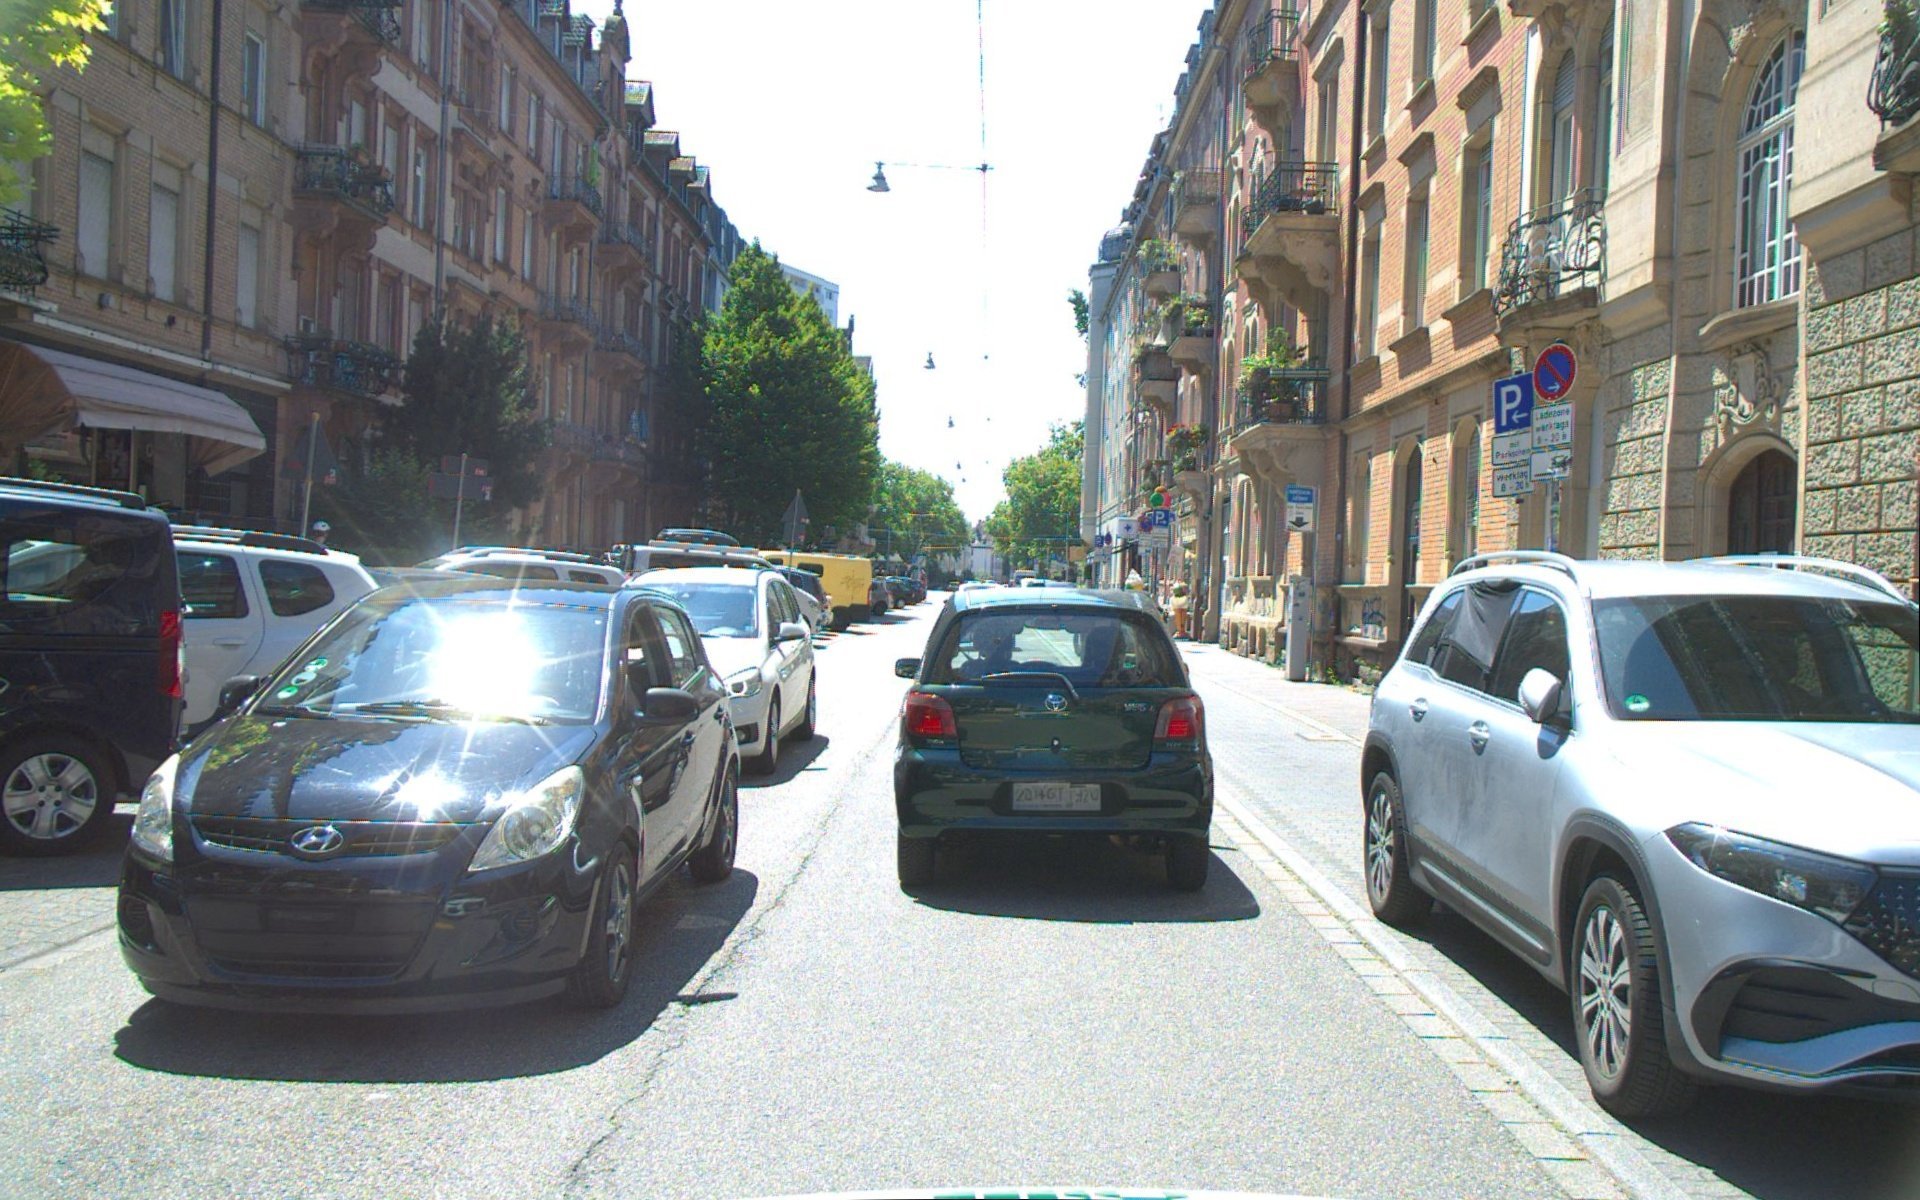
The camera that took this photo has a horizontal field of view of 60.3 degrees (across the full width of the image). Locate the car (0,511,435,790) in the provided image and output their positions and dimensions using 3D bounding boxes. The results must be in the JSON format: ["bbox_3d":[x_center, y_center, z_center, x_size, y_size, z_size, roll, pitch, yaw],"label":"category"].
[{"bbox_3d":[-5.767,0.297,11.344,3.932,1.686,1.748,4,0,-23],"label":"car"}]

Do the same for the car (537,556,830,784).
[{"bbox_3d":[-2.228,0.503,14.472,1.718,1.674,4.378,-1,0,1],"label":"car"}]

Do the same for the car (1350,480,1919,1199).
[{"bbox_3d":[2.856,0.579,6.210,1.832,1.743,4.505,1,0,2],"label":"car"}]

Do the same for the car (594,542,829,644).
[{"bbox_3d":[-5.516,-0.156,36.789,4.718,2.029,2.035,2,0,-28],"label":"car"}]

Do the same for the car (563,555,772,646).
[{"bbox_3d":[-5.994,0.006,33.856,3.856,1.647,1.853,2,0,-23],"label":"car"}]

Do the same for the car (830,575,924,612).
[{"bbox_3d":[-4.407,-0.362,88.228,4.550,1.756,1.984,2,0,-26],"label":"car"}]

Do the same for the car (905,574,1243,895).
[{"bbox_3d":[0.494,0.627,9.500,1.581,1.511,3.239,1,1,-2],"label":"car"}]

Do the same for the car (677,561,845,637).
[{"bbox_3d":[-5.073,-0.038,42.105,3.856,1.738,1.853,2,0,-23],"label":"car"}]

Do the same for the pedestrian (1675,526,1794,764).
[{"bbox_3d":[5.991,0.331,12.816,0.502,1.781,0.748,0,1,-6],"label":"pedestrian"}]

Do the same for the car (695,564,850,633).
[{"bbox_3d":[-5.094,-0.050,44.891,3.809,1.668,1.773,2,0,-23],"label":"car"}]

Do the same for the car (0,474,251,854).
[{"bbox_3d":[-5.836,0.220,8.249,3.947,1.835,1.751,4,0,-32],"label":"car"}]

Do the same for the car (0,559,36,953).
[{"bbox_3d":[-5.703,0.460,6.053,3.947,1.436,1.951,4,0,-31],"label":"car"}]

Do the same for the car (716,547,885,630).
[{"bbox_3d":[-4.702,-0.342,48.838,4.502,2.225,1.984,2,0,-26],"label":"car"}]

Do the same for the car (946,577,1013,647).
[{"bbox_3d":[0.459,0.253,39.393,1.491,1.547,3.264,2,1,0],"label":"car"}]

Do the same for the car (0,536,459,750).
[{"bbox_3d":[-6.092,0.348,13.544,3.572,1.483,1.613,4,0,-25],"label":"car"}]

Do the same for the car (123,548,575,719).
[{"bbox_3d":[-6.068,0.337,16.585,3.879,1.495,1.842,2,1,-36],"label":"car"}]

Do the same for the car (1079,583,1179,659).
[{"bbox_3d":[3.476,0.401,34.612,1.718,1.454,4.001,2,0,1],"label":"car"}]

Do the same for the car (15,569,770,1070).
[{"bbox_3d":[-1.959,0.650,7.036,1.718,1.469,4.001,2,0,1],"label":"car"}]

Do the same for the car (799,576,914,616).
[{"bbox_3d":[-4.440,-0.171,71.170,4.502,1.453,1.984,2,0,-26],"label":"car"}]

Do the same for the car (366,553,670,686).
[{"bbox_3d":[-6.196,0.269,23.147,3.856,1.647,1.853,2,0,-23],"label":"car"}]

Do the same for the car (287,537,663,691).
[{"bbox_3d":[-5.731,0.180,19.749,3.885,1.647,1.840,2,1,-40],"label":"car"}]

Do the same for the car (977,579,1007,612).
[{"bbox_3d":[1.692,-0.252,88.445,1.491,1.620,3.264,2,1,0],"label":"car"}]

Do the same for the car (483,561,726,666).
[{"bbox_3d":[-6.227,0.234,28.940,3.856,1.647,1.853,2,0,-23],"label":"car"}]

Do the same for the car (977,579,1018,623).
[{"bbox_3d":[1.511,0.017,65.637,1.490,1.620,3.265,2,1,3],"label":"car"}]
